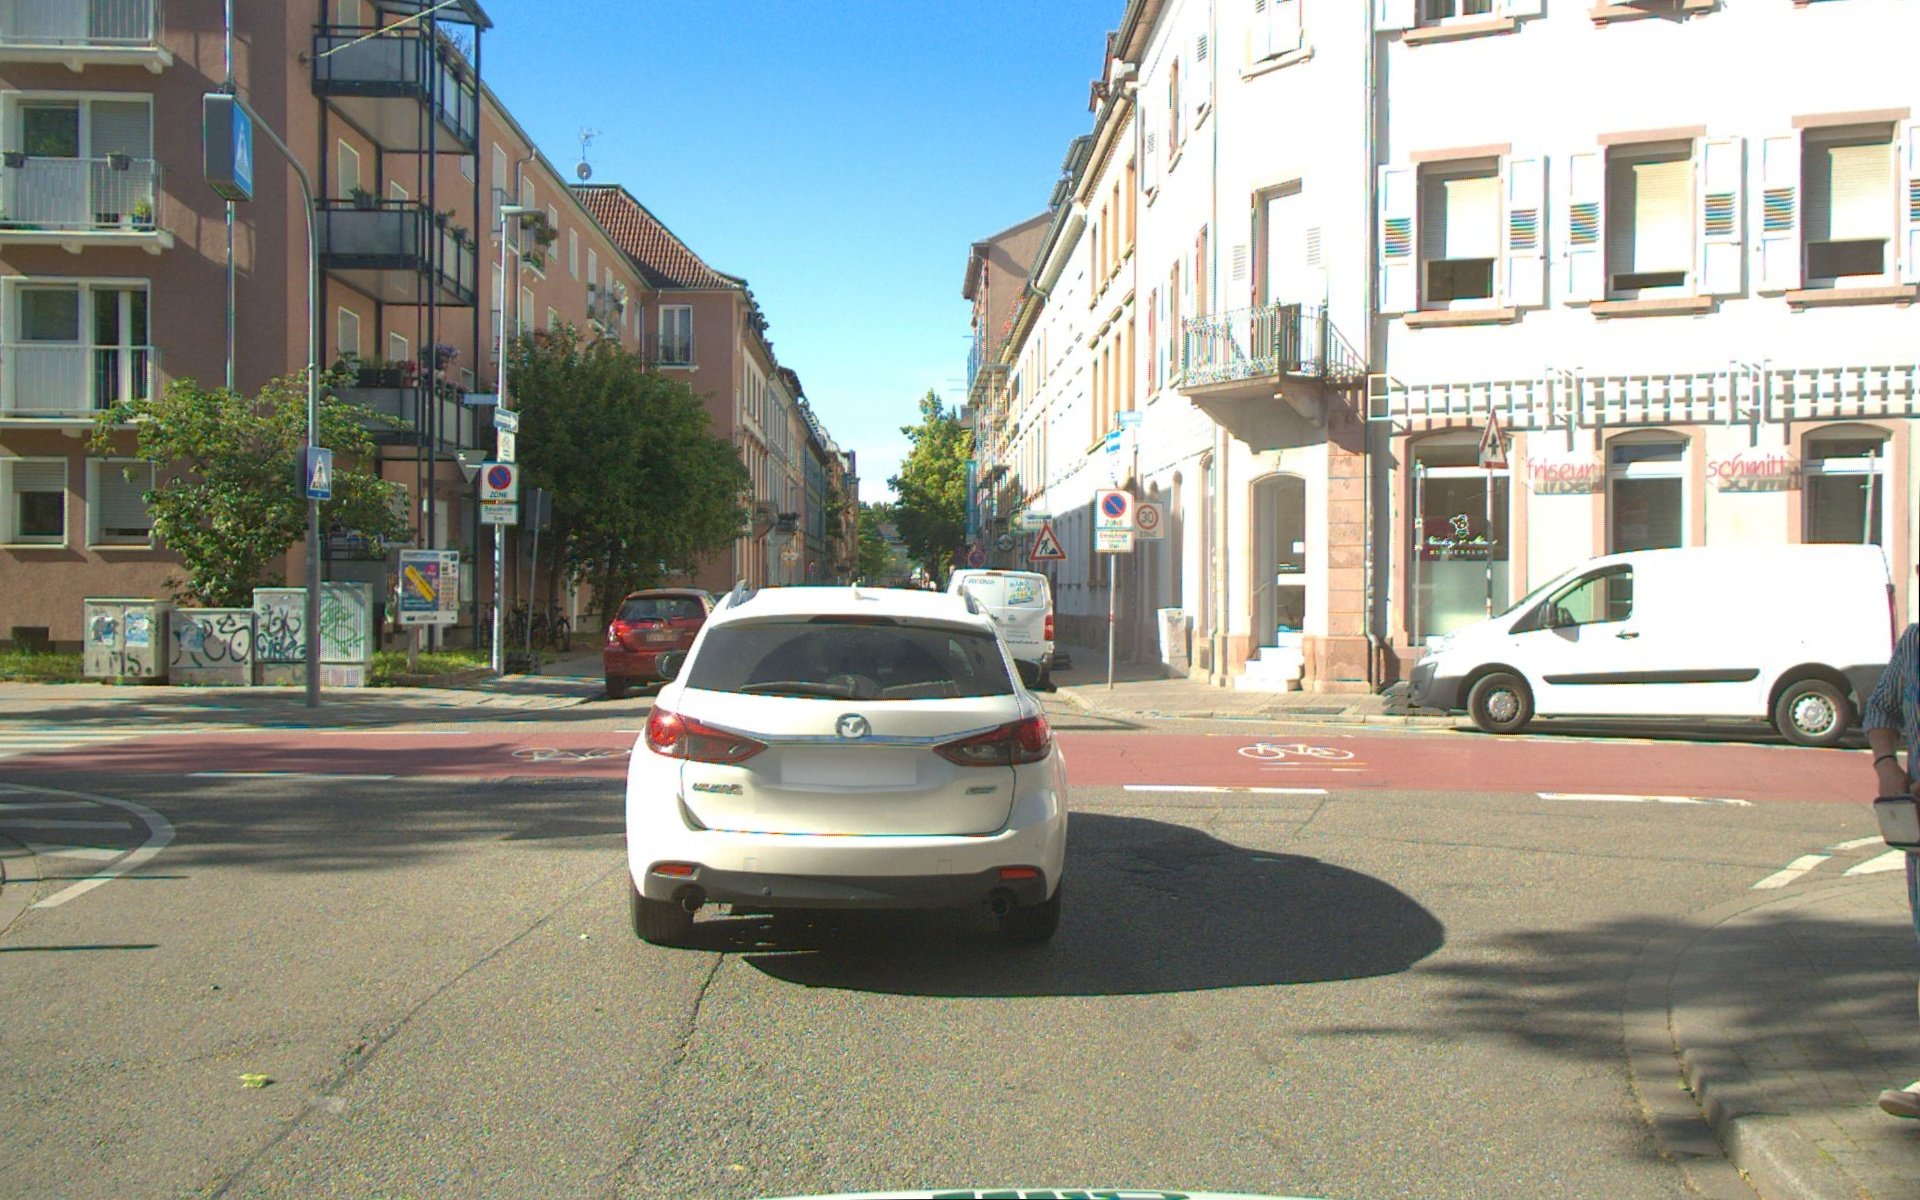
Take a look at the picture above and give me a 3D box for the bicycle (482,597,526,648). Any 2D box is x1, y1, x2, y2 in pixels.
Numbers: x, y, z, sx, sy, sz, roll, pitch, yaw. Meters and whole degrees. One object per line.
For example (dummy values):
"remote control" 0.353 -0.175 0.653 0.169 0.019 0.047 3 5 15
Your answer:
"bicycle" -9.845 0.477 35.692 1.193 1.091 0.265 0 0 38

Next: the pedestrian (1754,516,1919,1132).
"pedestrian" 2.849 0.556 4.503 0.827 1.600 0.846 -5 -1 -1

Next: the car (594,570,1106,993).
"car" -0.421 0.631 7.810 1.794 1.482 3.961 0 0 -1

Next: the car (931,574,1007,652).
"car" 0.185 0.310 42.325 1.856 1.892 3.994 0 0 -1

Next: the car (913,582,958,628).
"car" -1.046 0.202 70.097 1.856 1.892 3.994 0 0 -1

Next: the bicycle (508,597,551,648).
"bicycle" -9.426 0.495 36.208 1.193 1.090 0.252 0 0 38

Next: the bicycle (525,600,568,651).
"bicycle" -9.086 0.550 36.323 1.196 1.090 0.252 0 0 38

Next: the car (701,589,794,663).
"car" -4.606 0.534 36.266 1.620 1.526 3.762 0 0 -1

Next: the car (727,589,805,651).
"car" -4.961 0.481 42.602 1.620 1.526 3.762 0 0 -1

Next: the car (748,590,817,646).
"car" -5.034 0.491 47.214 1.620 1.526 3.762 0 0 -1

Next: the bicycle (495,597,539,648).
"bicycle" -9.632 0.487 35.960 1.193 1.089 0.252 0 0 38

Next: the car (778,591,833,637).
"car" -5.348 0.468 57.510 1.620 1.526 3.762 0 0 -1

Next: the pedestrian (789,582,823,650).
"pedestrian" -3.794 0.389 40.648 0.720 1.642 0.813 0 0 -14

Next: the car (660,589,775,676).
"car" -4.510 0.557 31.251 1.620 1.526 4.079 0 0 -1

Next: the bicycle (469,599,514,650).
"bicycle" -10.043 0.514 35.436 1.193 1.053 0.290 1 0 38

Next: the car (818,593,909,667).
"car" -1.957 0.586 34.649 1.725 1.434 4.327 0 0 -1

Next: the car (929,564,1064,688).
"car" 0.543 0.400 28.871 1.857 1.891 5.010 3 0 -4

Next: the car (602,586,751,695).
"car" -4.212 0.562 25.092 1.650 1.526 3.806 0 0 -1

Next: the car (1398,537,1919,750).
"car" 7.186 0.385 17.199 4.906 1.980 2.051 0 0 21
